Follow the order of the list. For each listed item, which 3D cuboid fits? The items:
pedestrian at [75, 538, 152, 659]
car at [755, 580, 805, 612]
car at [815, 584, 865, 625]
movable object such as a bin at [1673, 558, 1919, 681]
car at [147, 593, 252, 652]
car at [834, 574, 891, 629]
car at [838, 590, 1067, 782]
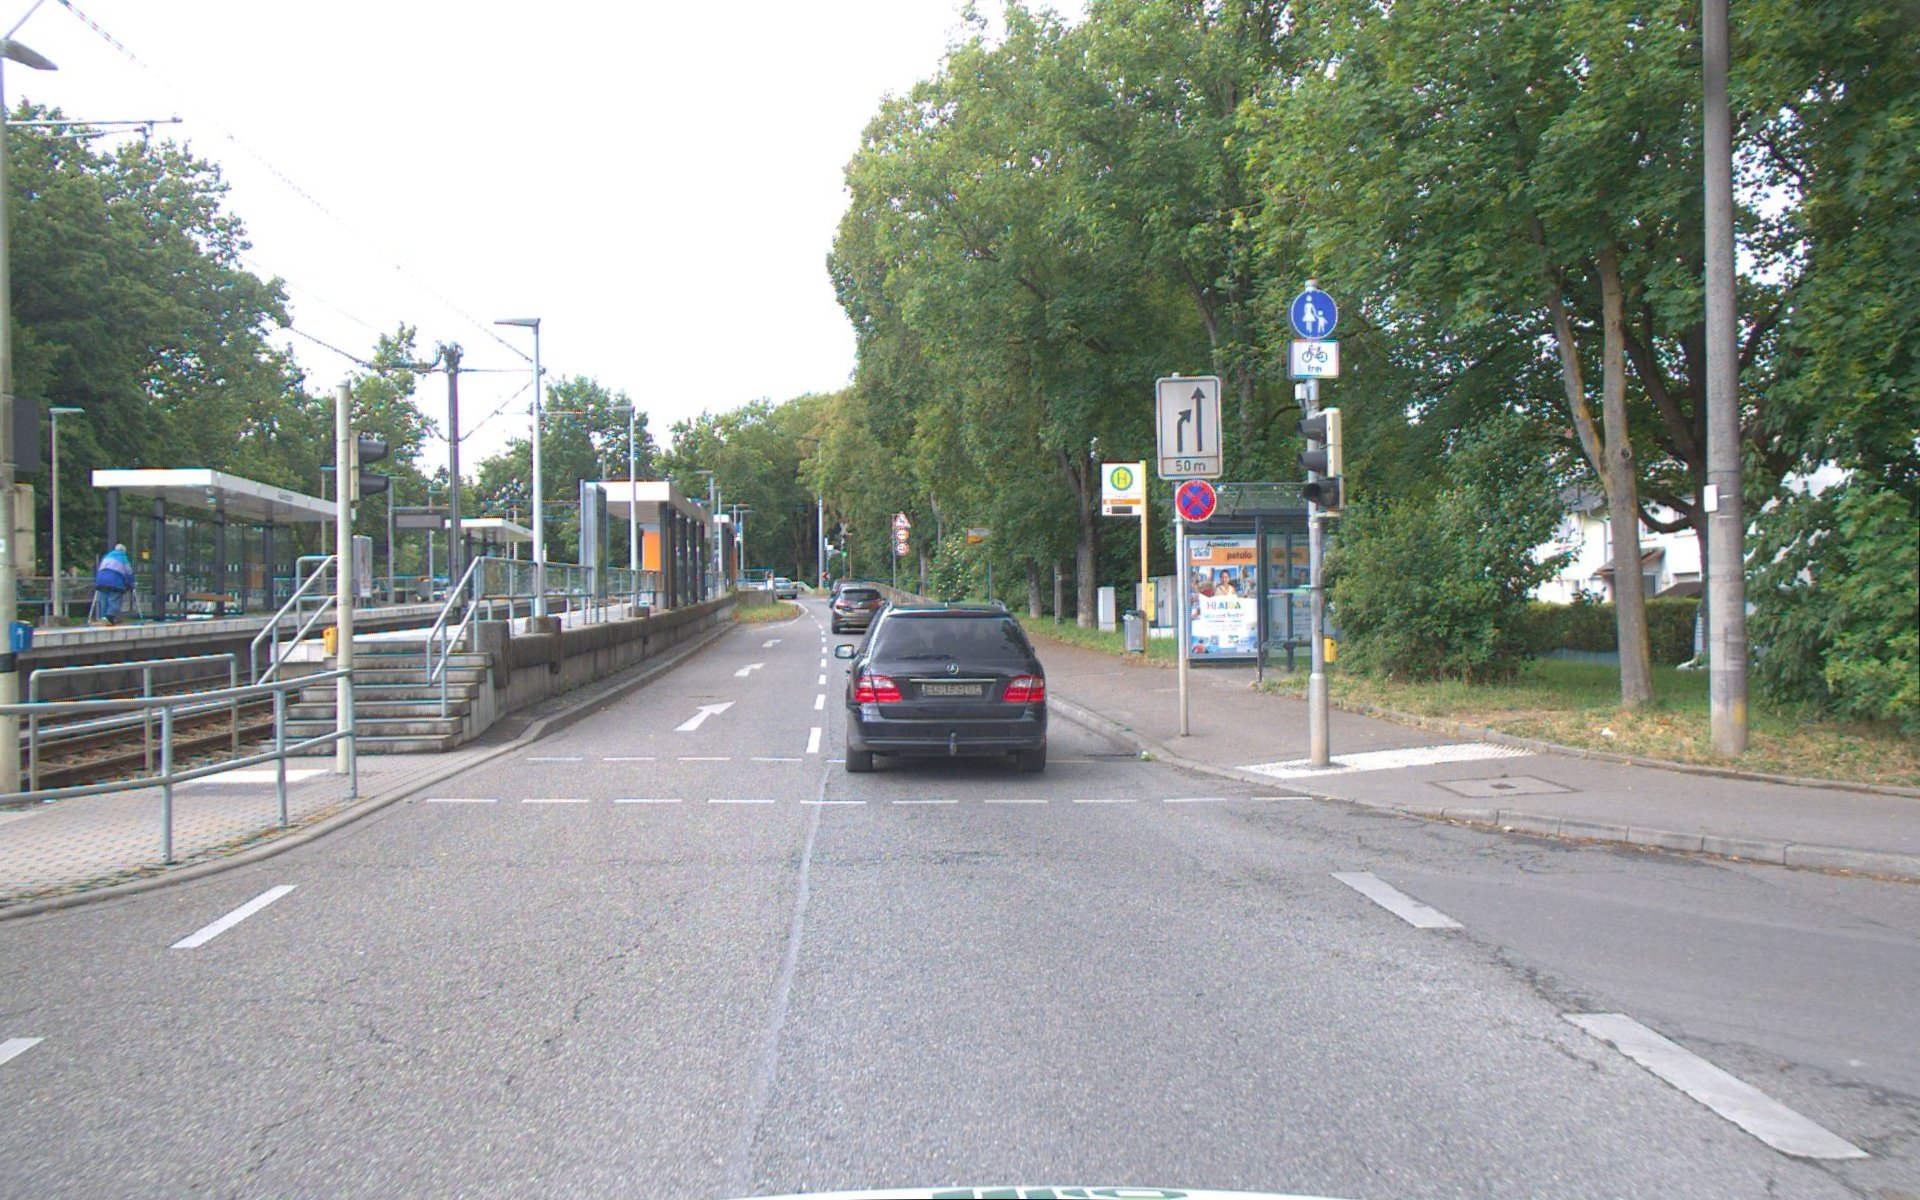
[{"bbox_3d":[-15.898,-0.026,31.087,0.950,2.224,0.975,-1,0,-4],"label":"pedestrian"},{"bbox_3d":[-11.152,-0.227,102.125,1.967,1.926,3.971,2,-1,-23],"label":"car"},{"bbox_3d":[-5.993,0.218,82.047,1.958,1.952,3.988,1,-1,-12],"label":"car"},{"bbox_3d":[19.890,0.454,39.445,1.959,2.669,6.251,1,-1,-13],"label":"movable object such as a bin"},{"bbox_3d":[-24.737,0.743,53.973,1.677,1.782,4.395,-2,-1,-5],"label":"car"},{"bbox_3d":[-3.153,0.058,53.732,1.746,1.677,3.997,1,0,-3],"label":"car"},{"bbox_3d":[-0.202,0.696,15.443,1.747,1.552,3.995,0,0,-6],"label":"car"}]
